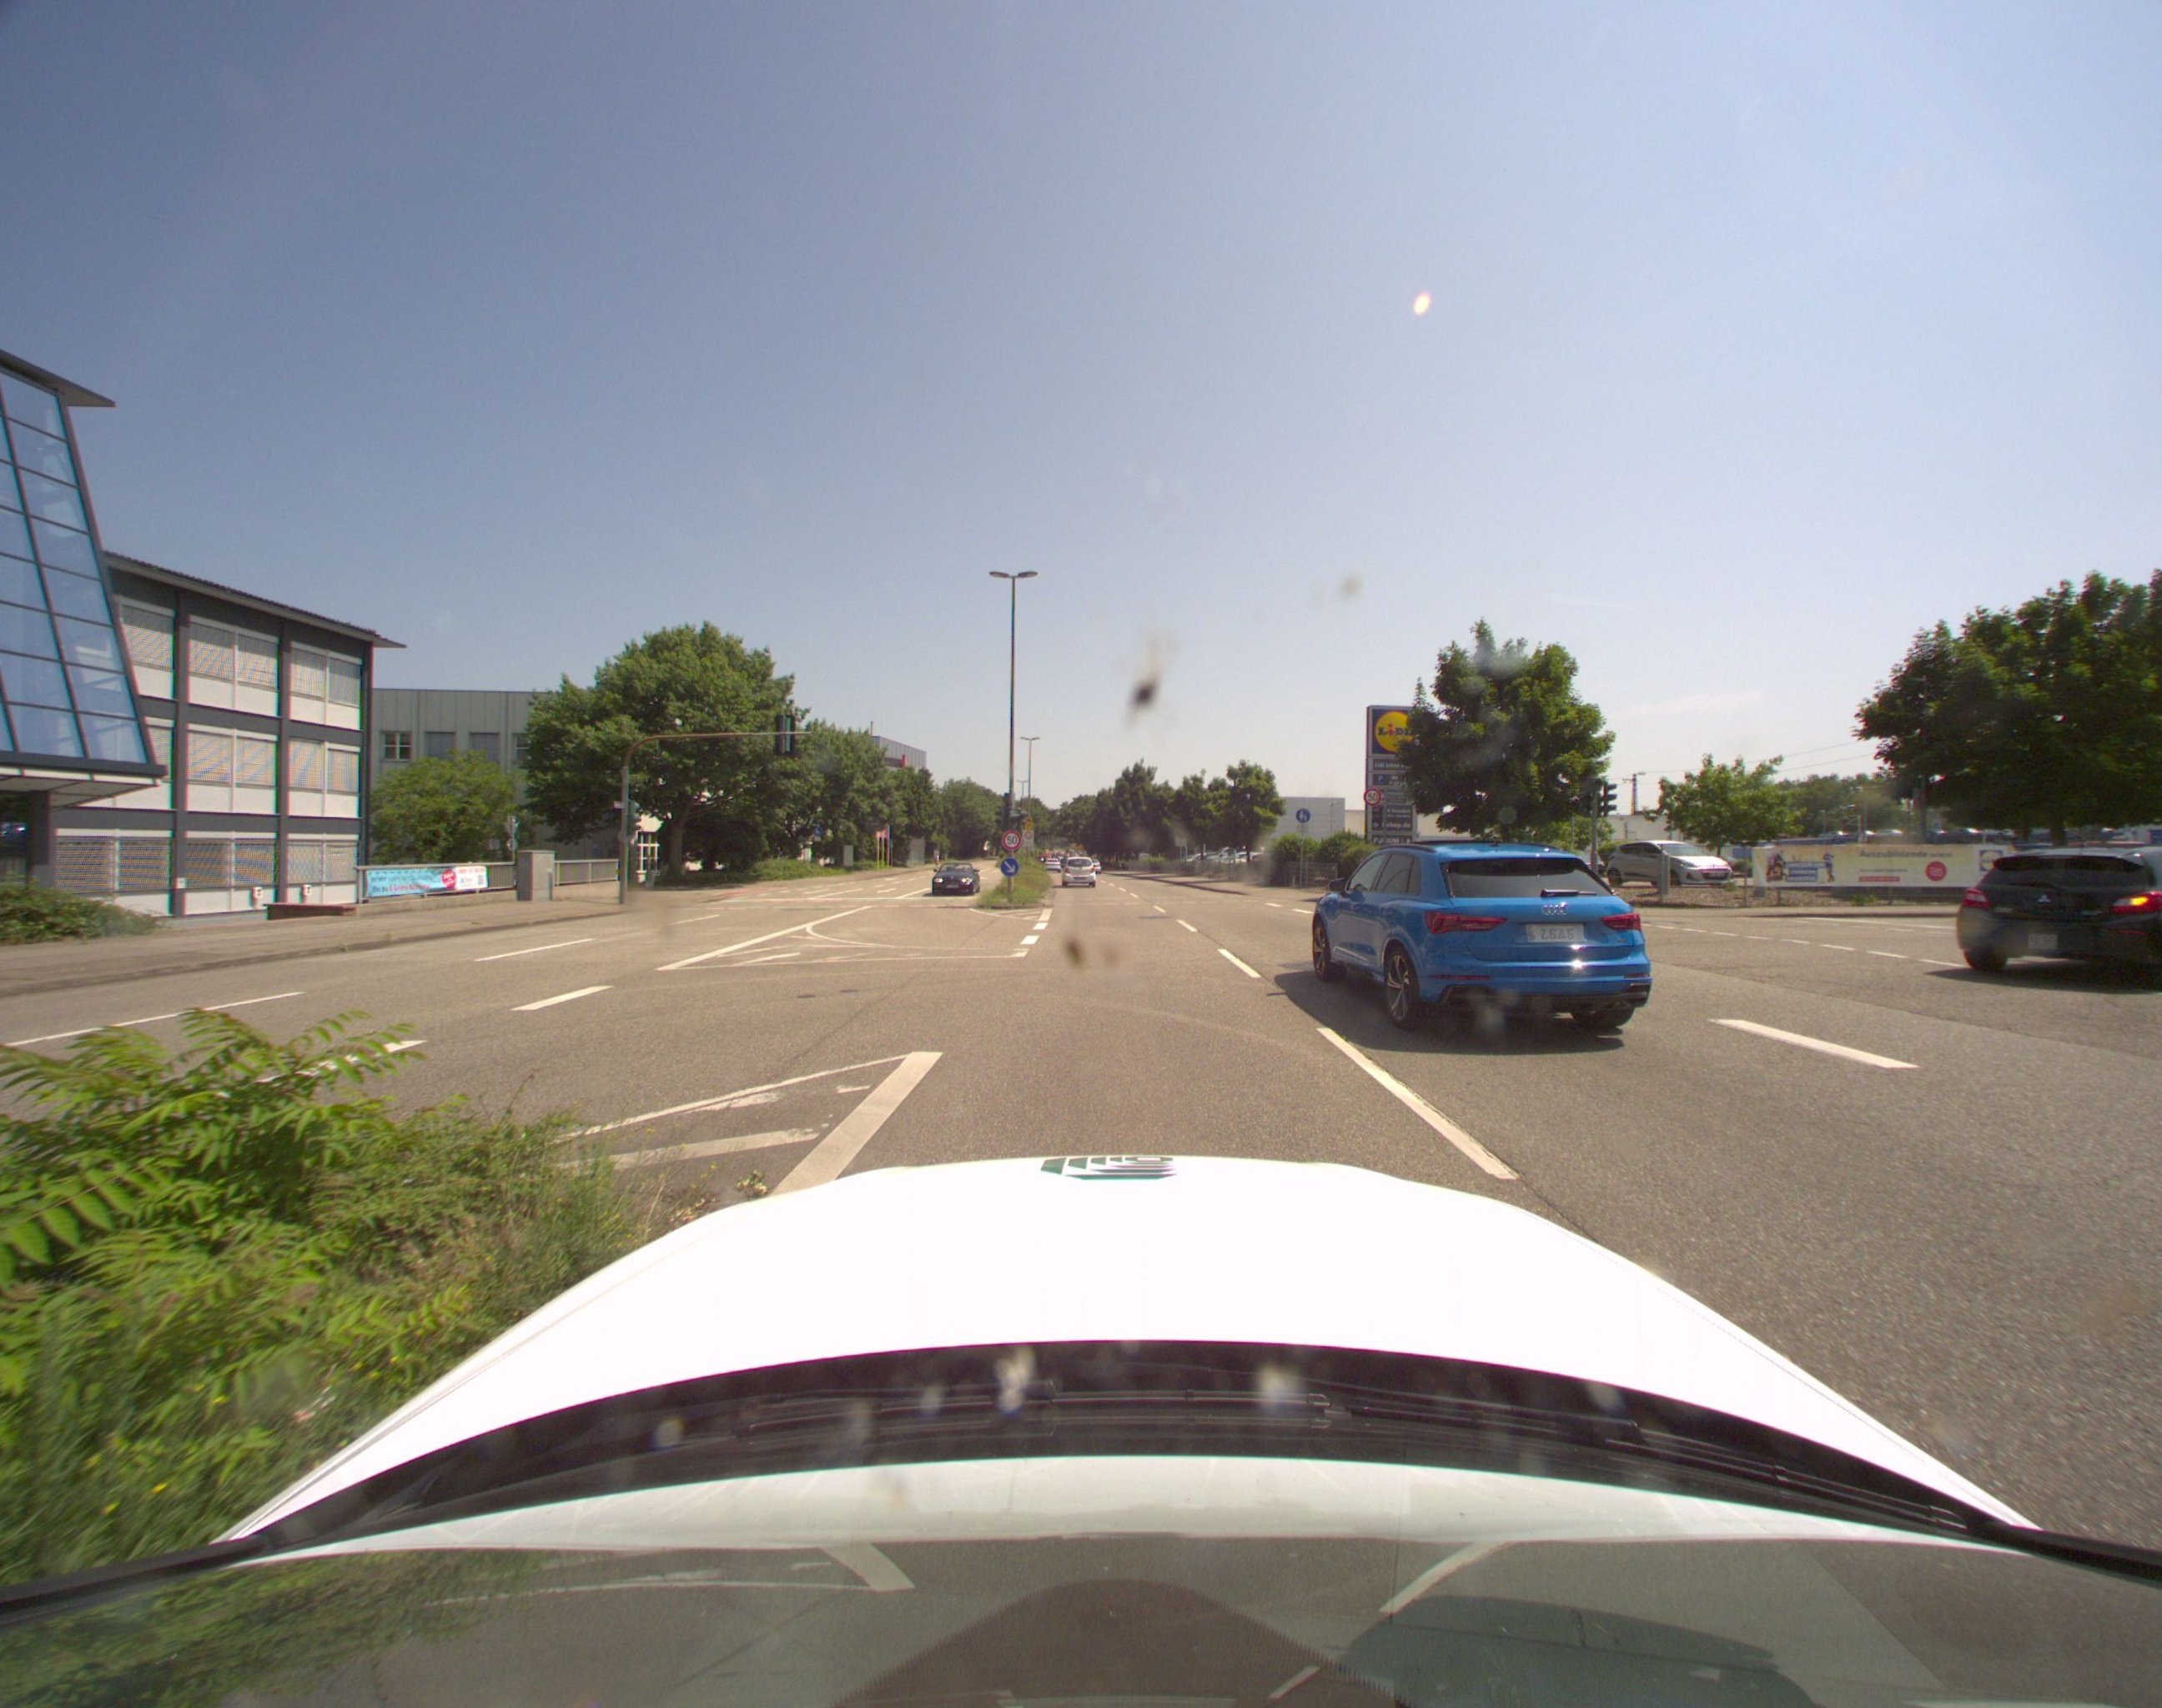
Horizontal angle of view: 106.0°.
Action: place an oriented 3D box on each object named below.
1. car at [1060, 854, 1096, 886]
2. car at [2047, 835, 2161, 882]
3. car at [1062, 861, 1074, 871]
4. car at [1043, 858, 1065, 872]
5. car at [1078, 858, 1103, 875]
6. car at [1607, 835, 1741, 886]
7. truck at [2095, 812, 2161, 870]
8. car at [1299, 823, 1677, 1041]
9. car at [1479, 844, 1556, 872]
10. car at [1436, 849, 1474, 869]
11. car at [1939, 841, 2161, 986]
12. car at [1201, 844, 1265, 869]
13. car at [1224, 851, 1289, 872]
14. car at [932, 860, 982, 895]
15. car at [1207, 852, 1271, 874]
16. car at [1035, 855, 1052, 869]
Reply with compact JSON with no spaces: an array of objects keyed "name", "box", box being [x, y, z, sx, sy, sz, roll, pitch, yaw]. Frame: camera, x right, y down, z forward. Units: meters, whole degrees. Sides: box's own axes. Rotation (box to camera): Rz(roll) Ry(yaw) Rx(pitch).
[{"name":"car","box":[-0.200,0.809,41.974,1.635,1.552,3.321,-1,0,-4]},{"name":"car","box":[33.734,0.120,25.963,1.700,1.448,3.417,-1,0,-8]},{"name":"car","box":[-1.818,1.610,110.503,1.439,1.348,3.454,-1,0,-5]},{"name":"car","box":[-2.774,1.116,82.970,1.882,1.354,3.992,2,0,-6]},{"name":"car","box":[0.887,1.176,76.881,1.864,1.473,3.990,2,0,-7]},{"name":"car","box":[18.272,0.169,25.292,1.417,1.438,3.529,-2,1,-4]},{"name":"truck","box":[73.284,-0.894,52.641,2.842,3.838,10.026,-1,0,-1]},{"name":"car","box":[3.597,0.576,8.219,1.801,1.593,4.352,-1,0,3]},{"name":"car","box":[23.253,0.219,43.556,1.731,1.394,4.074,-1,-1,-4]},{"name":"car","box":[27.779,0.366,60.553,1.263,1.420,2.952,-1,0,-5]},{"name":"car","box":[11.840,0.566,9.119,3.425,1.401,1.613,0,0,-14]},{"name":"car","box":[11.692,0.197,62.858,4.607,1.924,1.824,0,0,-4]},{"name":"car","box":[11.930,0.520,55.511,3.989,1.421,1.695,0,0,-5]},{"name":"car","box":[-5.123,0.942,34.113,1.726,1.323,4.143,-1,0,-4]},{"name":"car","box":[11.668,0.660,60.115,4.355,1.593,1.825,0,0,-2]},{"name":"car","box":[-4.510,0.919,97.292,1.882,1.608,3.993,-1,0,-5]}]
